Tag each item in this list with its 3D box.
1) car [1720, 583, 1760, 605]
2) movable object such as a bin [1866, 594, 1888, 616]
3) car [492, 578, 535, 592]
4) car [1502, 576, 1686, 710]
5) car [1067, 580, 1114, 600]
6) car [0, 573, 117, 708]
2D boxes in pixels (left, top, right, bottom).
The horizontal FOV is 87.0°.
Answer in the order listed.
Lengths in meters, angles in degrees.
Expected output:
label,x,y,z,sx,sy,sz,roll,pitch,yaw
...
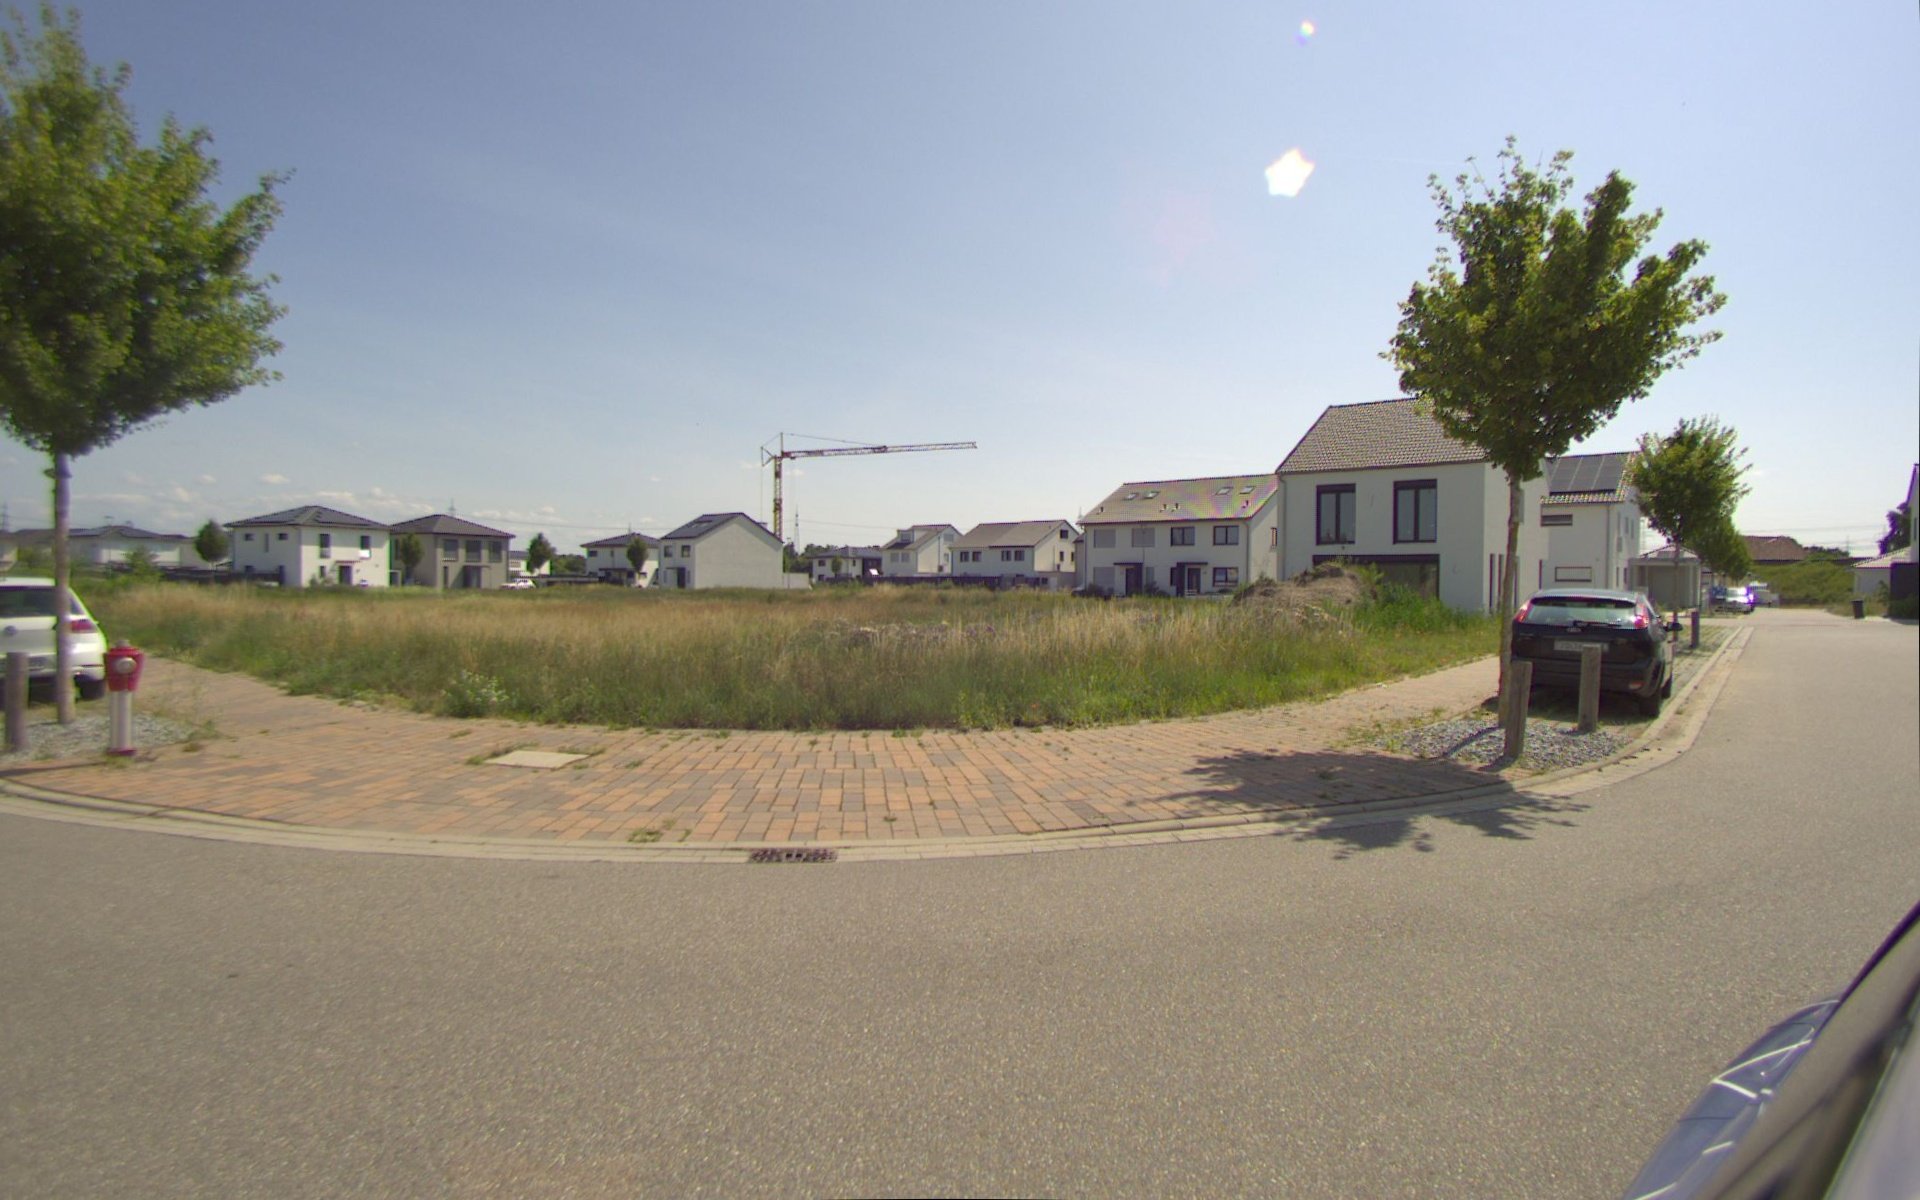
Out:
label,x,y,z,sx,sy,sz,roll,pitch,yaw
car,52.403,-0.409,67.944,1.917,1.438,4.357,1,1,40
movable object such as a bin,46.459,0.259,51.303,0.805,1.112,0.662,1,1,42
car,-46.543,-1.550,105.529,1.734,1.416,3.962,0,0,27
car,8.580,0.480,13.651,1.837,1.512,4.142,0,0,34
car,10.658,-0.860,82.538,1.810,1.593,3.936,1,1,44
car,-12.035,0.416,12.610,4.149,1.437,1.755,2,3,42
